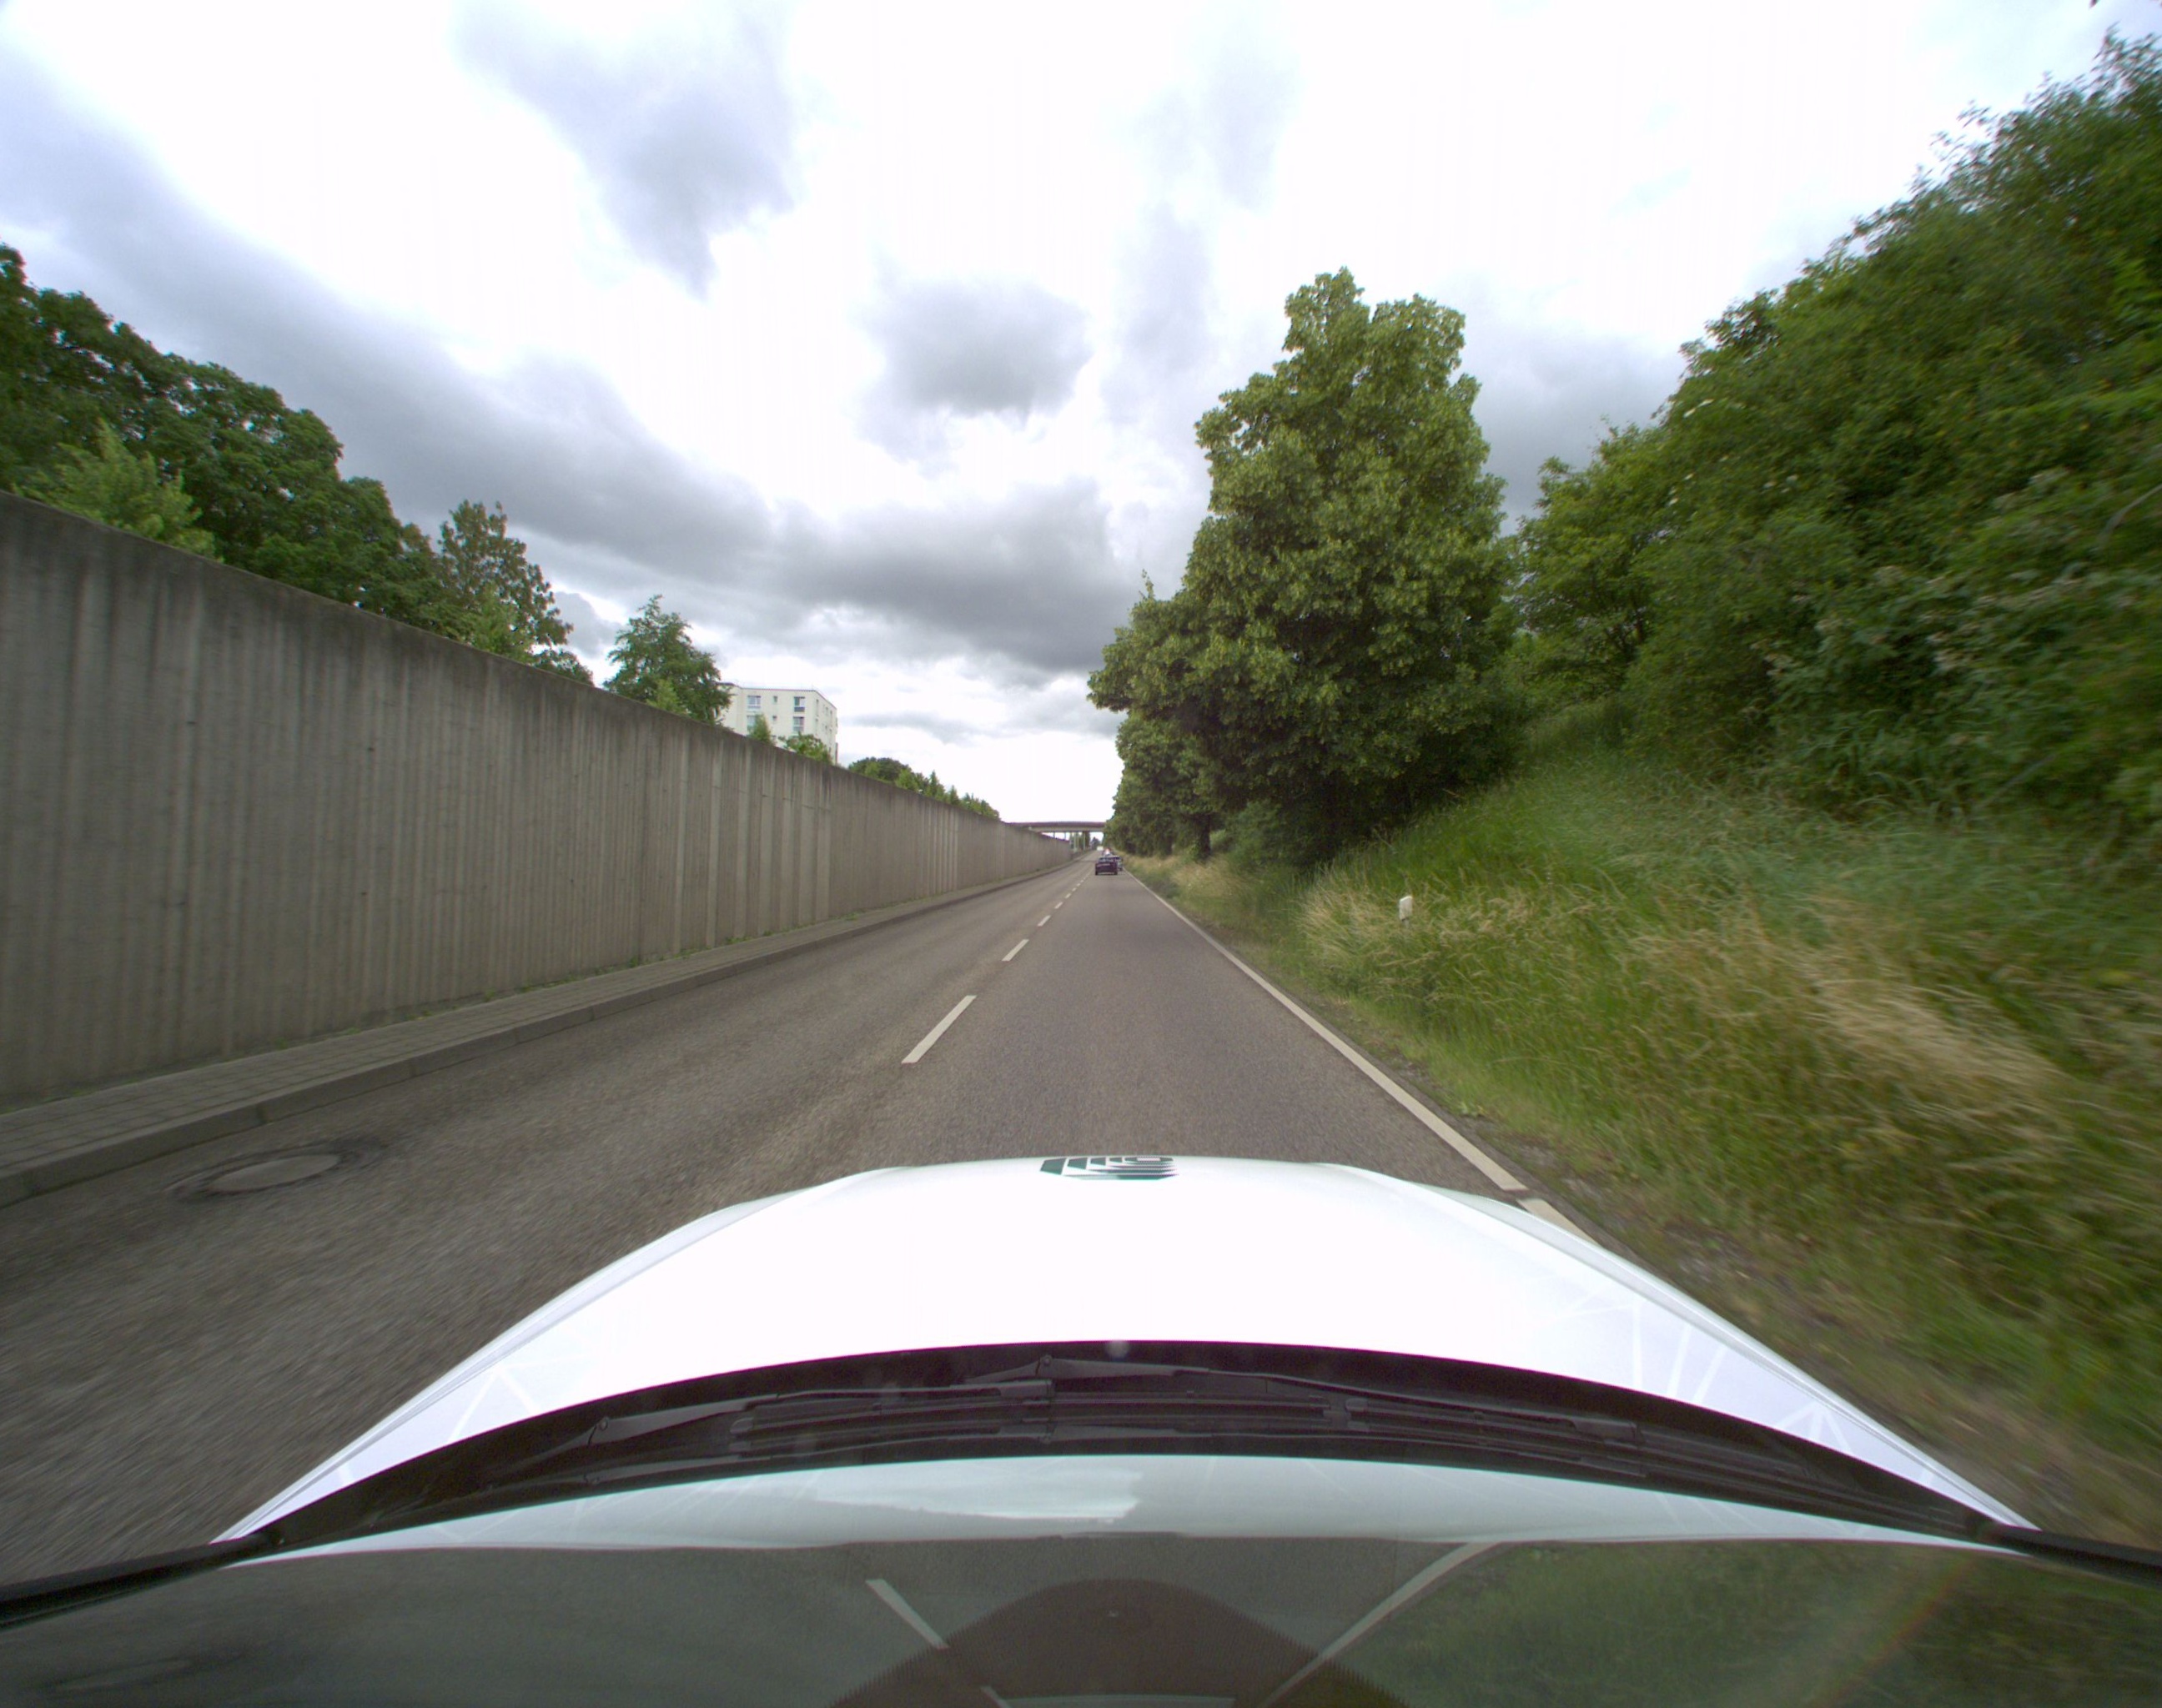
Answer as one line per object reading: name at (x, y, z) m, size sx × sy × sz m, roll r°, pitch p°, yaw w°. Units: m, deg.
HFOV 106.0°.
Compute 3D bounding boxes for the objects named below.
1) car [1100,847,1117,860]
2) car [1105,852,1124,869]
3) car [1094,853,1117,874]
car at (3.373, -0.036, 99.299) m, size 1.860 × 1.490 × 4.256 m, roll 2°, pitch 0°, yaw 0°
car at (3.244, 0.665, 79.476) m, size 1.748 × 1.523 × 4.037 m, roll -3°, pitch -1°, yaw 1°
car at (1.944, 0.762, 64.398) m, size 1.748 × 1.523 × 4.037 m, roll -1°, pitch -1°, yaw 1°
